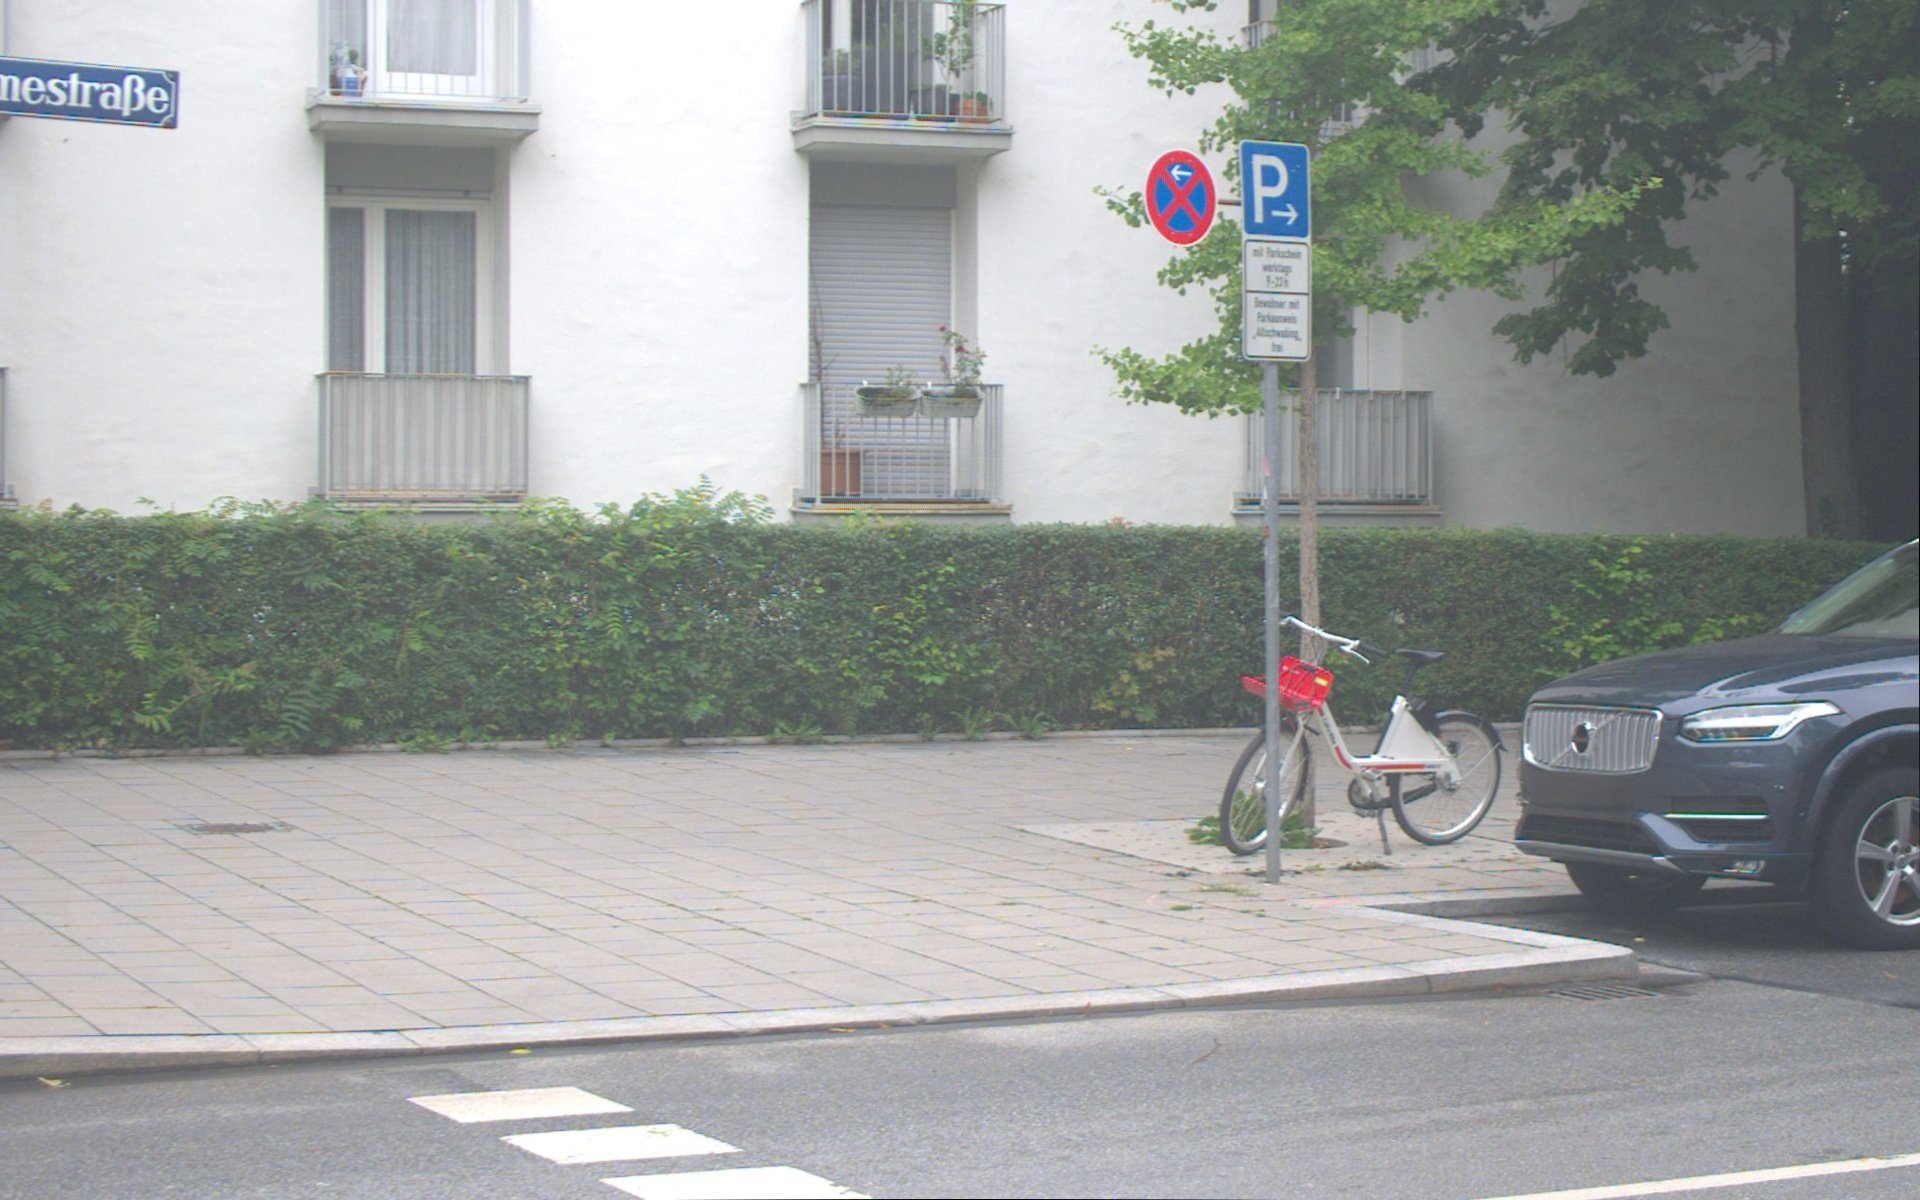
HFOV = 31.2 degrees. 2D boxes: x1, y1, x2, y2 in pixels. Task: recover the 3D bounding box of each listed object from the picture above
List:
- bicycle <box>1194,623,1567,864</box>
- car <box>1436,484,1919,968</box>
[{"bbox_3d":[1.997,0.654,16.225,1.824,1.045,0.492,-1,2,-31],"label":"bicycle"},{"bbox_3d":[4.648,0.448,14.601,4.896,1.786,2.000,0,0,-25],"label":"car"}]
